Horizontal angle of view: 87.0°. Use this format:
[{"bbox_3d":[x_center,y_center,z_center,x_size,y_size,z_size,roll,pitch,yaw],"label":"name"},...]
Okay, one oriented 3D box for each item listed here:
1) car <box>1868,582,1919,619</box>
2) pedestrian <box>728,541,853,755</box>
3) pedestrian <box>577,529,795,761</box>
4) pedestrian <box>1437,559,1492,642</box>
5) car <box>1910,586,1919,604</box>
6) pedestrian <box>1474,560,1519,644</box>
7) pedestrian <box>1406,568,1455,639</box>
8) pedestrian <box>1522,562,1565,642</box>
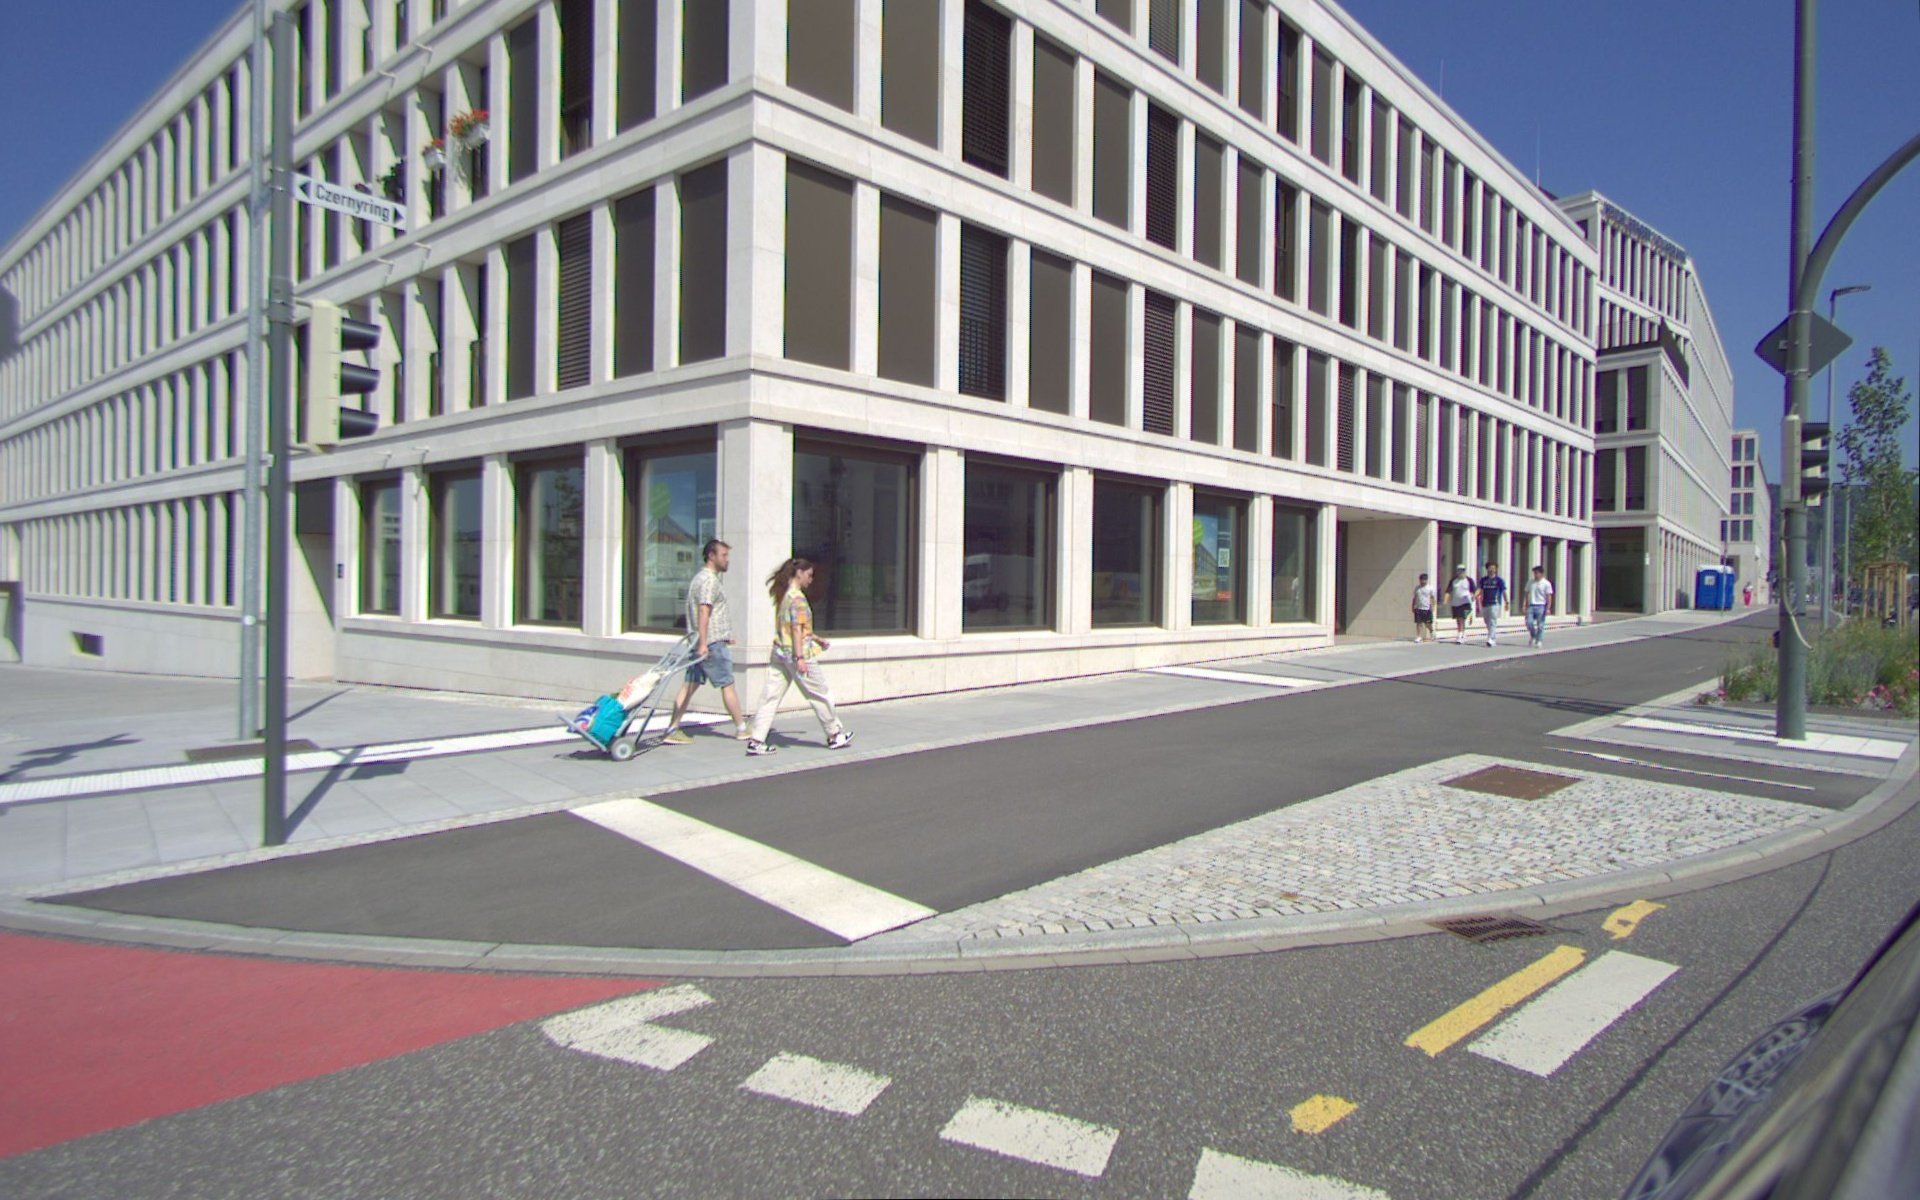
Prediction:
[{"bbox_3d":[41.039,0.009,44.231,3.935,1.527,1.807,-1,0,-45],"label":"car"},{"bbox_3d":[-1.472,0.386,8.792,0.783,1.745,0.700,-1,0,-43],"label":"pedestrian"},{"bbox_3d":[-2.399,0.345,8.958,1.637,1.849,0.879,-1,0,-43],"label":"pedestrian"},{"bbox_3d":[11.280,-0.014,22.627,0.912,1.805,0.825,-1,2,-44],"label":"pedestrian"},{"bbox_3d":[88.542,-0.483,92.980,1.778,1.581,3.772,0,0,43],"label":"car"},{"bbox_3d":[11.578,0.027,21.850,0.981,1.762,0.577,-2,2,-44],"label":"pedestrian"},{"bbox_3d":[10.735,0.057,23.094,0.829,1.585,0.769,-1,2,-44],"label":"pedestrian"},{"bbox_3d":[12.950,0.027,22.449,0.981,1.741,0.577,-2,2,-44],"label":"pedestrian"}]
